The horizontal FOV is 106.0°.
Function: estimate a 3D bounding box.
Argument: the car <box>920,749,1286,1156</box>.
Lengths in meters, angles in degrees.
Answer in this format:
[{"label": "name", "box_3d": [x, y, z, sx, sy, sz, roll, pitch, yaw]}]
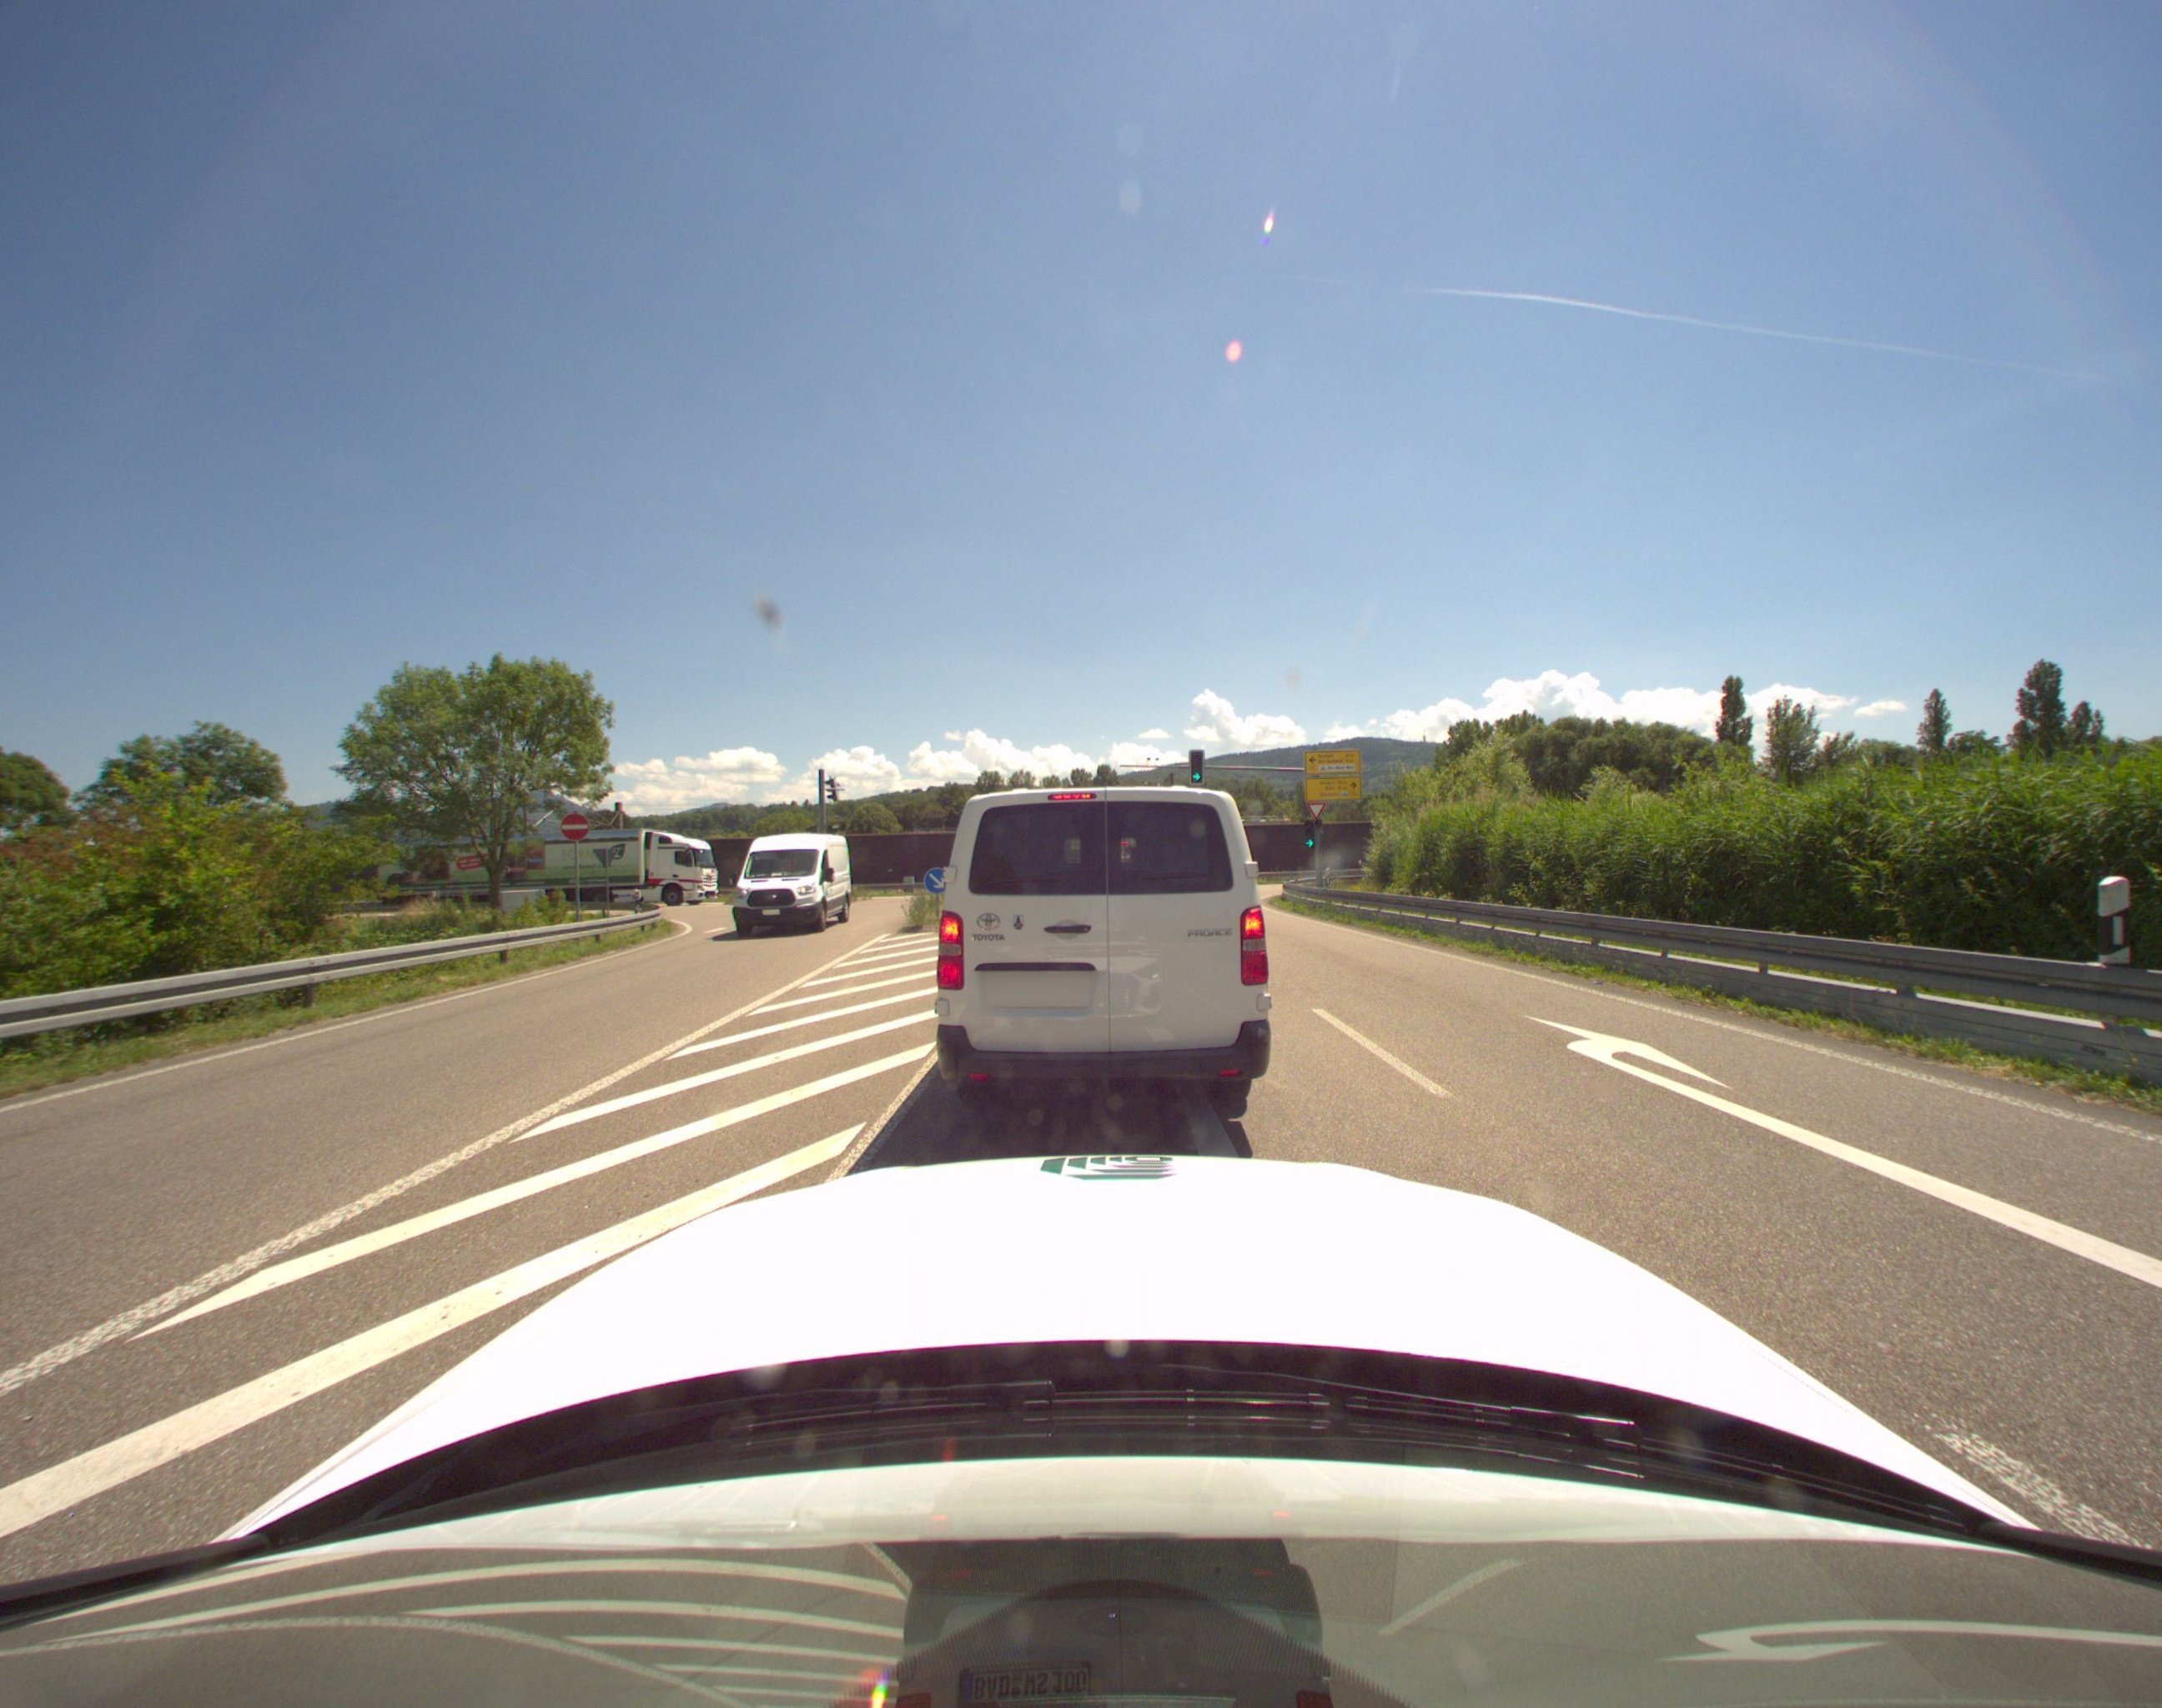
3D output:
[{"label": "car", "box_3d": [0.169, 0.513, 6.111, 1.808, 2.017, 4.001, -1, -1, 2]}]

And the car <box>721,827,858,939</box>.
[{"label": "car", "box_3d": [-7.331, 0.682, 21.145, 1.991, 2.416, 5.577, -3, 0, -6]}]

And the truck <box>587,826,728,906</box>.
[{"label": "truck", "box_3d": [-22.119, 0.621, 42.797, 5.746, 3.954, 3.062, -1, -1, 0]}]

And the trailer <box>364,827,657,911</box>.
[{"label": "trailer", "box_3d": [-29.639, 0.765, 42.741, 13.098, 3.954, 3.061, -1, -1, 0]}]
